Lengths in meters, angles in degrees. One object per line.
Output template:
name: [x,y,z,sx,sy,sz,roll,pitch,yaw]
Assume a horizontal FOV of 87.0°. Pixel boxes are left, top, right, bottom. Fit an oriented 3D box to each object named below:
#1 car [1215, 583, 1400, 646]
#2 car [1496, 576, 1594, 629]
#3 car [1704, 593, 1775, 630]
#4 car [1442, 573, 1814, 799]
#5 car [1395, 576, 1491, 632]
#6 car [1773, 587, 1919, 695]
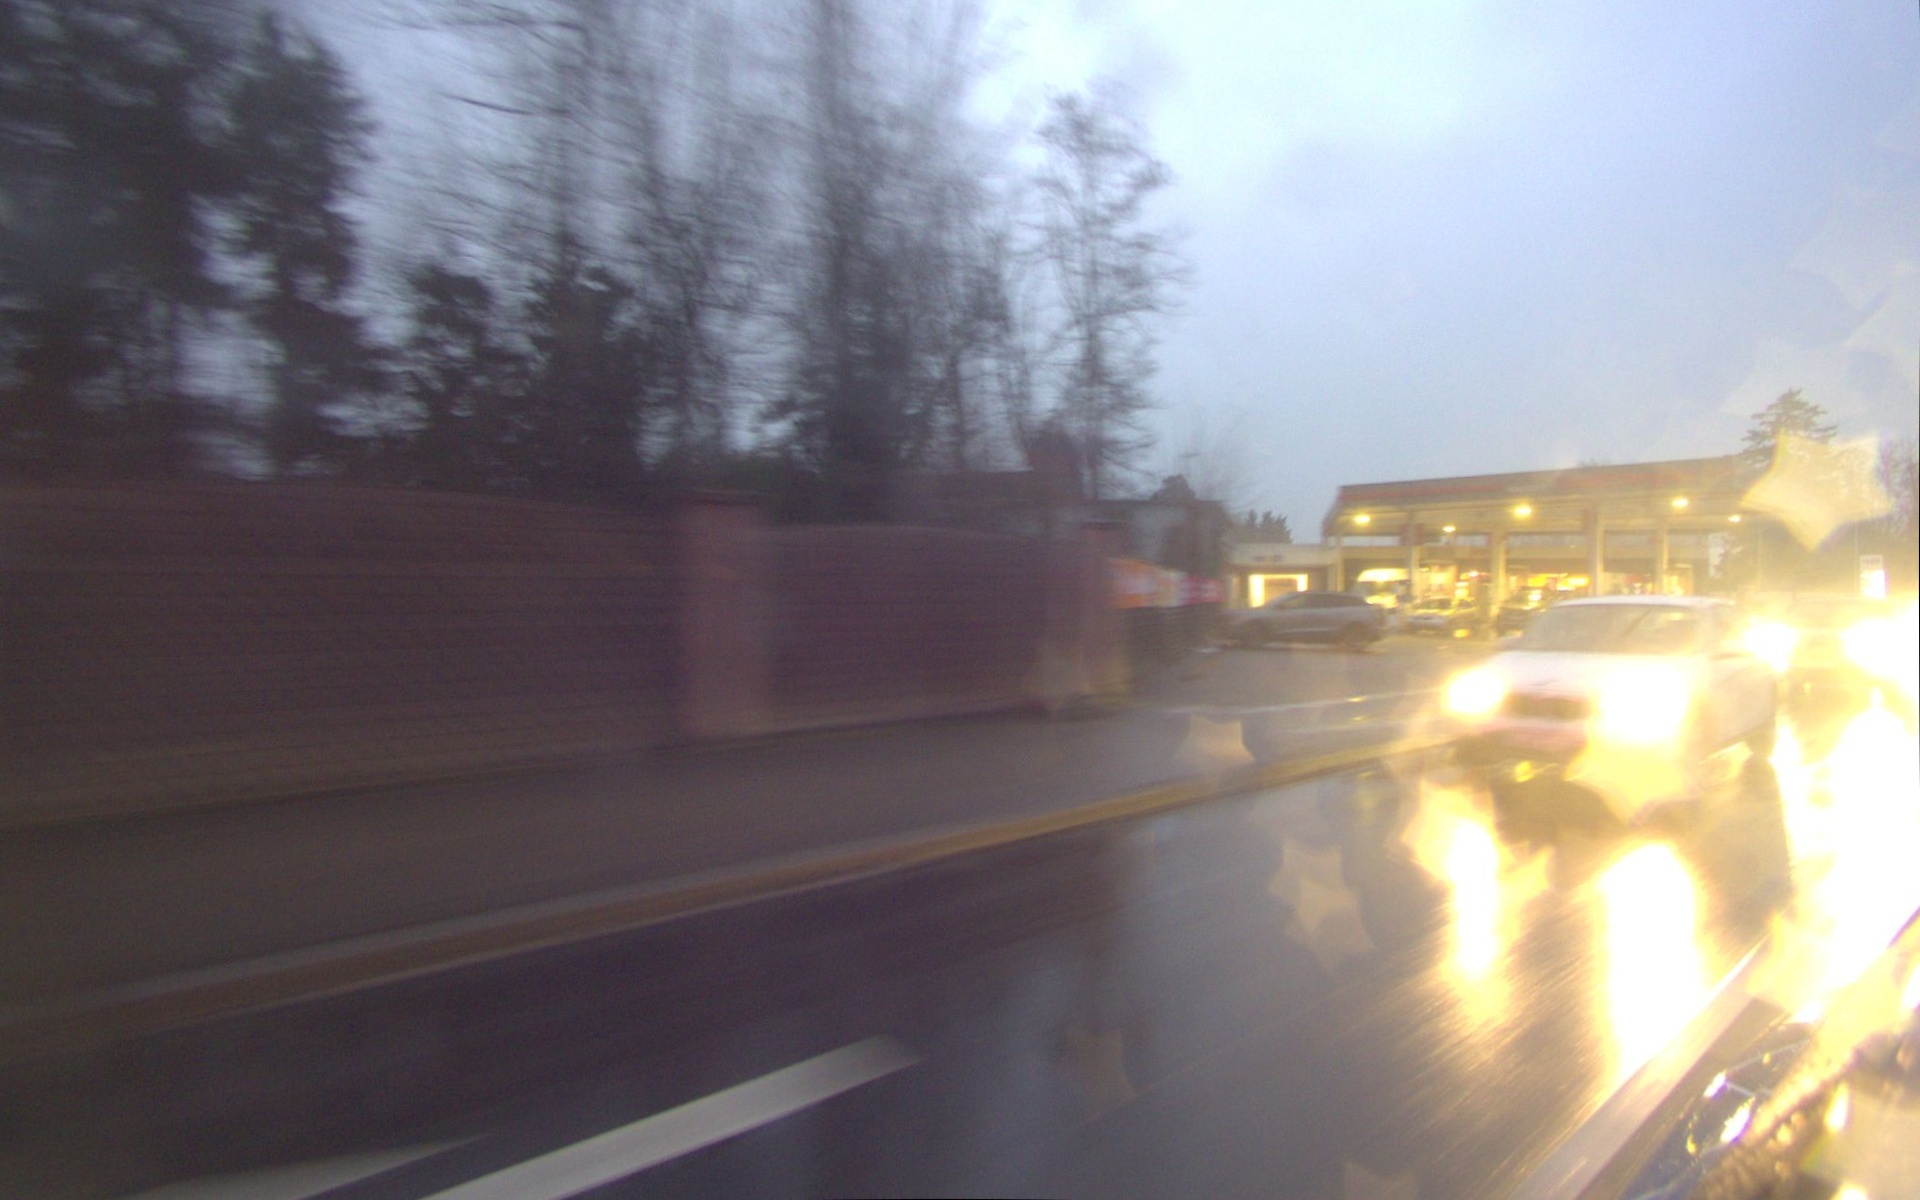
car: [9.401,0.359,27.701,4.405,1.628,2.016,0,0,6]
car: [22.339,0.053,38.593,4.224,1.882,1.997,0,2,-41]
car: [32.093,0.453,41.636,4.096,1.414,1.575,0,1,-41]
car: [6.240,0.591,9.241,4.385,1.595,1.711,0,0,-41]
car: [18.788,0.127,39.326,3.931,2.039,1.997,0,0,-41]
car: [14.576,0.577,16.342,3.936,1.548,1.568,0,0,-41]
